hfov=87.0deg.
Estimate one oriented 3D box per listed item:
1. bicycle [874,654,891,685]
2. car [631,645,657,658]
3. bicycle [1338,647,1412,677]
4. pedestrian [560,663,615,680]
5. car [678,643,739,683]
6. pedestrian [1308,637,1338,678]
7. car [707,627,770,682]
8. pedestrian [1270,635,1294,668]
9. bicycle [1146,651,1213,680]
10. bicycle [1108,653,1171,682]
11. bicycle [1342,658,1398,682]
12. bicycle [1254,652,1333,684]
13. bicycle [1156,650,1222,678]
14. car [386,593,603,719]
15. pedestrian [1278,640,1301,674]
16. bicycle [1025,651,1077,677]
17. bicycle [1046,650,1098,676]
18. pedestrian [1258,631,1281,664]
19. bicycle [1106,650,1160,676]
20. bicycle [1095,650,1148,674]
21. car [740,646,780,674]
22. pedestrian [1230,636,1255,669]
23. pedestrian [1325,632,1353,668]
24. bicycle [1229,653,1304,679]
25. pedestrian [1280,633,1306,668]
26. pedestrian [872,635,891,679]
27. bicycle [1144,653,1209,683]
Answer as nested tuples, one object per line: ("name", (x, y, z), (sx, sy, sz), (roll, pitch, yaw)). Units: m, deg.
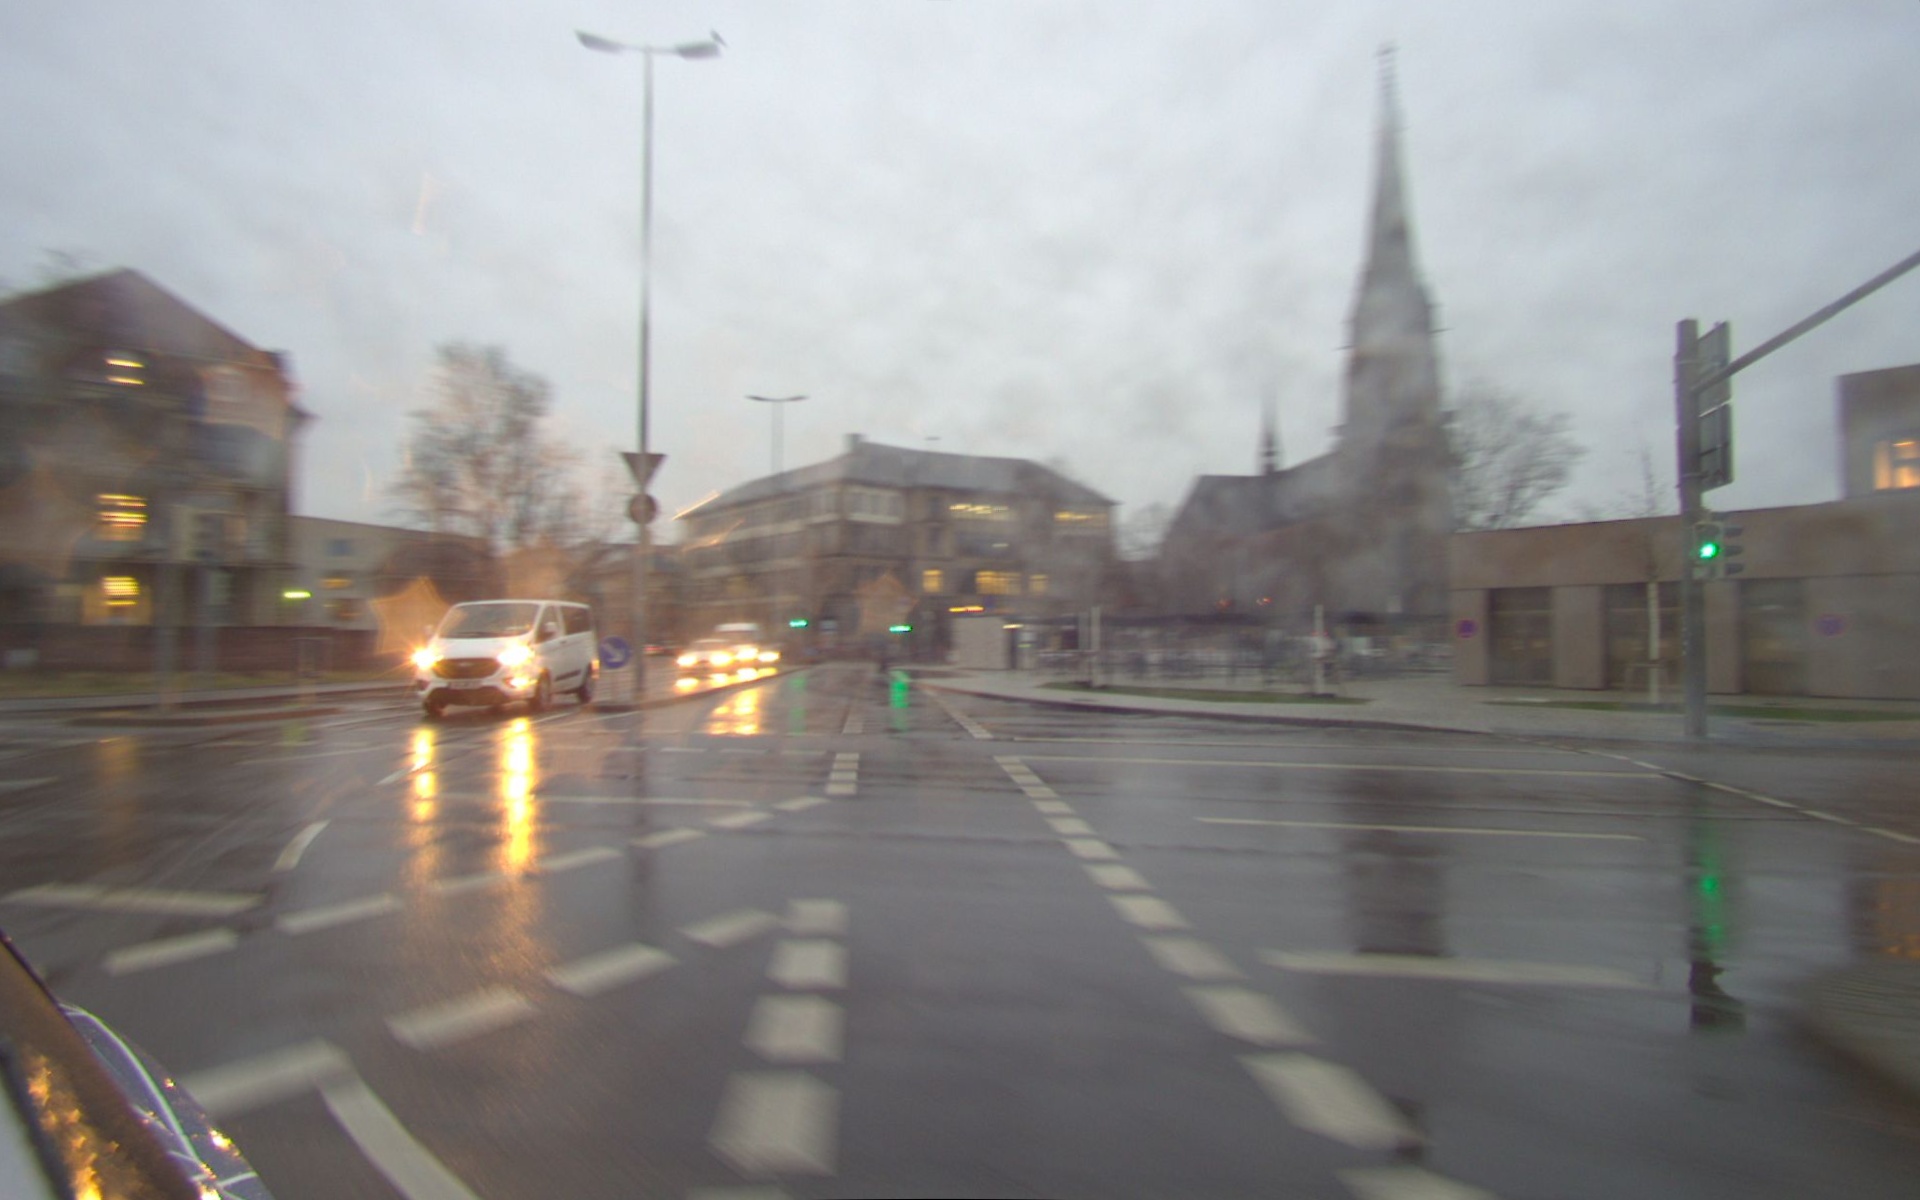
("bicycle", (-3.155, 2.809, 41.152), (0.614, 1.185, 1.875), (2, -3, -5))
("car", (-38.123, 6.148, 121.989), (1.857, 1.542, 4.009), (2, -3, -36))
("bicycle", (16.656, 2.501, 40.674), (0.636, 1.113, 2.757), (0, -4, -36))
("pedestrian", (-23.197, 4.434, 62.986), (3.048, 0.937, 0.951), (-1, -3, -35))
("car", (-10.334, 2.567, 41.806), (1.729, 1.515, 4.321), (-2, -3, -4))
("pedestrian", (15.595, 2.465, 43.473), (0.804, 1.693, 0.849), (-4, -1, -5))
("car", (-11.165, 2.738, 51.375), (2.312, 2.537, 5.873), (-2, -3, -5))
("pedestrian", (18.396, 2.924, 57.823), (1.019, 1.864, 0.849), (1, -3, -5))
("bicycle", (9.091, 2.727, 42.083), (2.751, 1.113, 0.637), (-5, -4, 44))
("bicycle", (7.110, 2.700, 40.268), (0.636, 1.113, 2.757), (0, -4, -36))
("bicycle", (15.273, 2.591, 37.742), (0.597, 0.878, 1.867), (3, -4, -40))
("bicycle", (12.055, 2.448, 36.694), (0.599, 1.113, 2.753), (0, -3, -43))
("bicycle", (9.627, 2.693, 42.638), (2.752, 1.113, 0.637), (-3, -3, 45))
("car", (-8.329, 1.023, 18.715), (2.105, 1.936, 5.022), (-2, -3, -6))
("pedestrian", (18.514, 3.208, 56.866), (1.019, 1.864, 0.803), (1, -4, -5))
("bicycle", (4.123, 2.922, 45.923), (0.636, 1.113, 2.757), (0, -4, -36))
("bicycle", (5.113, 2.909, 46.553), (0.636, 1.113, 2.757), (0, -4, -36))
("pedestrian", (17.956, 2.774, 58.703), (1.019, 1.864, 0.849), (1, -3, -5))
("bicycle", (8.022, 2.932, 46.979), (0.636, 1.113, 2.757), (0, -4, -36))
("bicycle", (7.832, 3.018, 49.149), (0.636, 1.113, 2.755), (0, -4, -39))
("car", (-12.275, 3.697, 62.489), (1.811, 1.656, 4.820), (0, -3, -4))
("pedestrian", (16.483, 3.071, 59.071), (1.034, 1.864, 0.849), (-4, -2, -6))
("pedestrian", (20.360, 2.710, 54.424), (1.019, 1.864, 0.849), (-2, -3, -5))
("bicycle", (13.311, 2.857, 44.123), (0.782, 1.058, 3.199), (2, -4, -41))
("pedestrian", (18.643, 2.834, 56.727), (1.019, 1.864, 0.849), (-2, -3, -5))
("pedestrian", (-3.190, 2.323, 41.286), (0.706, 1.747, 0.983), (2, -3, -6))
("bicycle", (8.575, 2.720, 40.272), (0.636, 1.113, 2.757), (0, -4, -36))
